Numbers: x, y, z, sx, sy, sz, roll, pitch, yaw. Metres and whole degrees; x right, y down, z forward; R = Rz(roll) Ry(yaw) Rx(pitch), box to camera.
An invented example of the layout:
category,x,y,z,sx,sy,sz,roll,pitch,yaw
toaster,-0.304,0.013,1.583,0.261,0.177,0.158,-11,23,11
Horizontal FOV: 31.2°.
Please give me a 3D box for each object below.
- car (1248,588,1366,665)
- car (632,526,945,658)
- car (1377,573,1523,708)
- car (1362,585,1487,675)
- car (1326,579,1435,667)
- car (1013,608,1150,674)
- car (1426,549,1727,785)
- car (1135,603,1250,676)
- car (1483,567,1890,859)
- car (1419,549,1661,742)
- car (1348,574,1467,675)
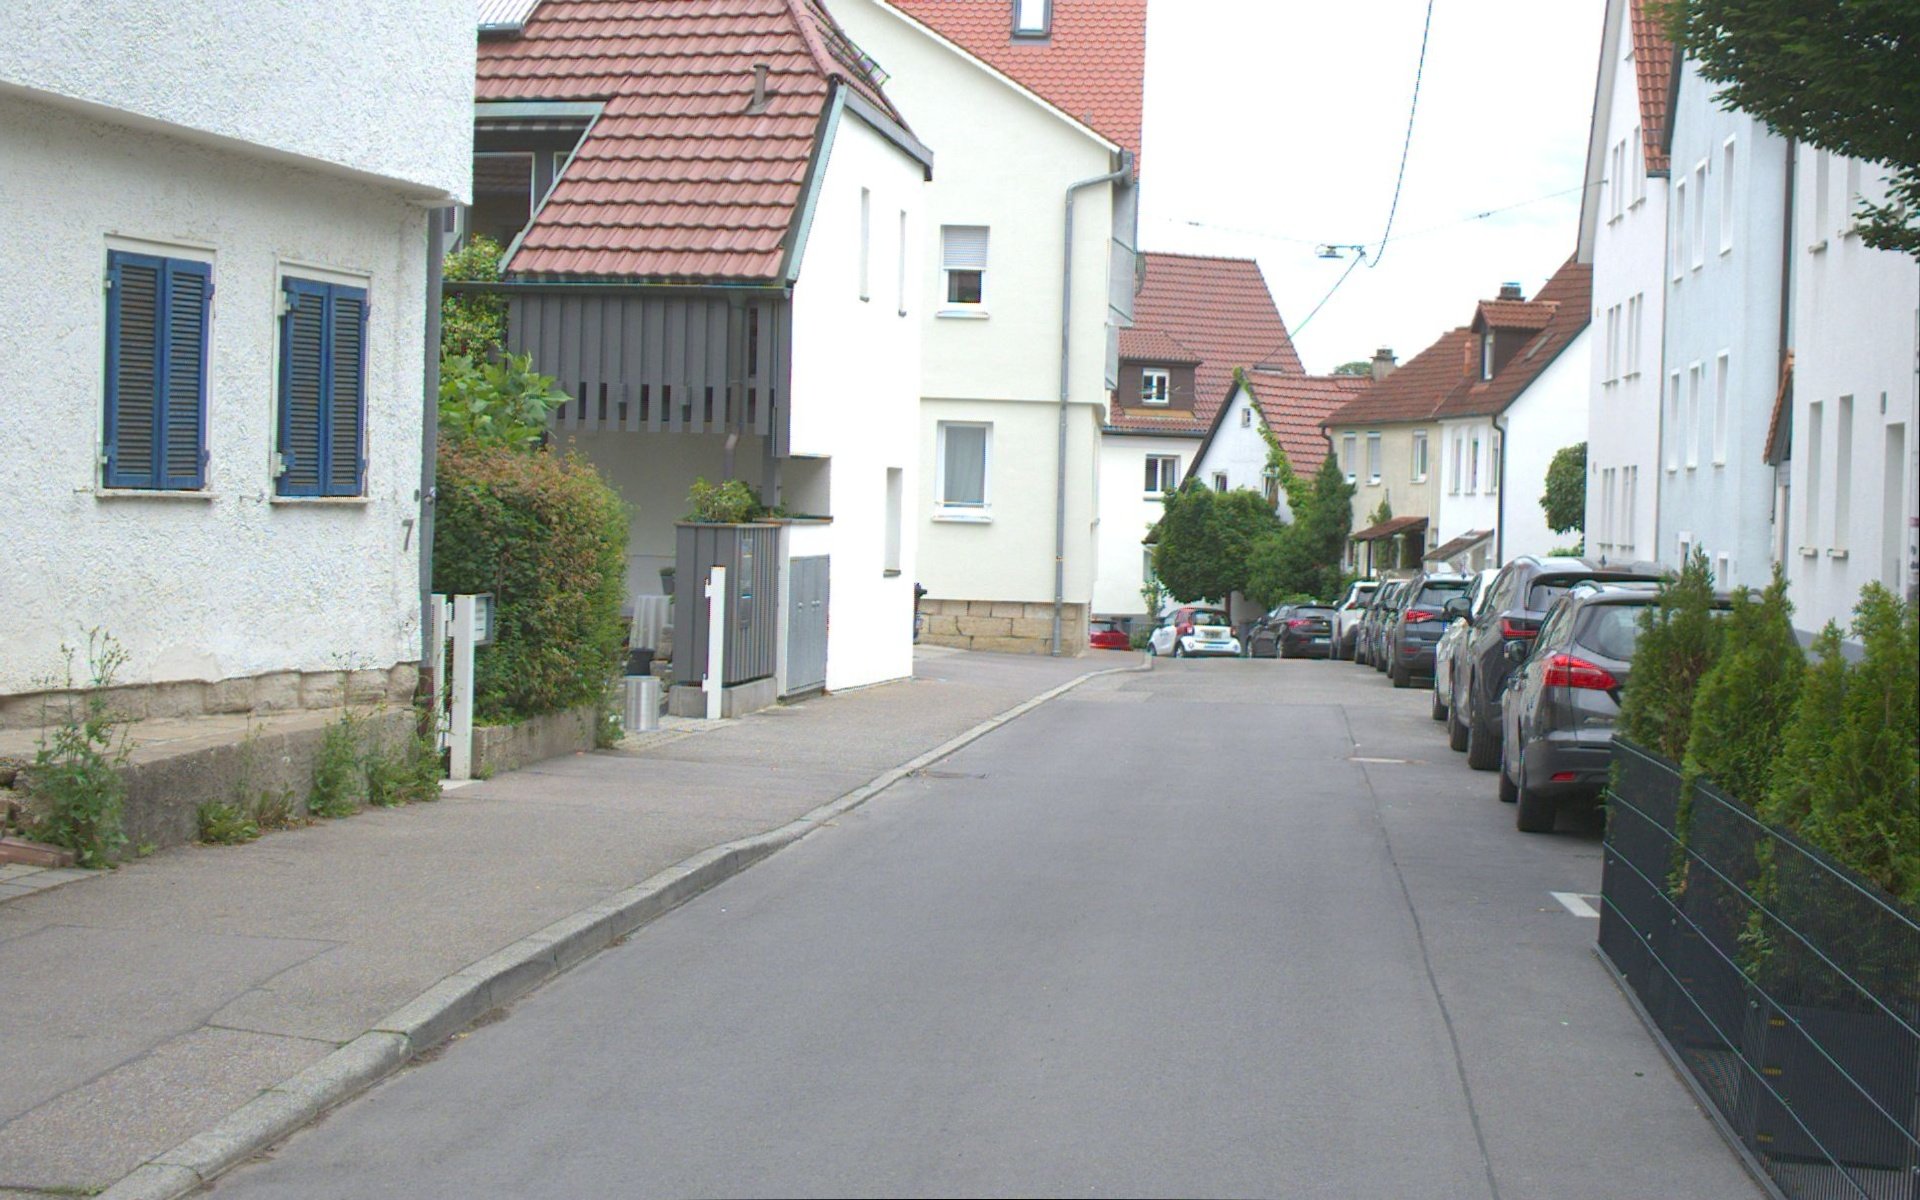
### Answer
category,x,y,z,sx,sy,sz,roll,pitch,yaw
car,8.274,0.659,82.341,1.993,1.707,4.000,1,-2,-6
car,-2.277,-0.093,46.264,3.733,1.407,2.119,5,0,10
car,6.542,0.494,46.266,1.754,1.622,4.533,4,1,7
car,7.560,0.508,56.280,1.797,1.347,4.074,2,-1,5
car,8.707,0.489,71.488,1.873,1.707,4.147,2,-1,3
car,3.420,1.172,97.270,1.993,1.678,4.000,-4,0,-29
car,4.783,0.469,27.289,1.863,1.627,4.900,2,1,5
car,6.161,1.031,91.549,1.962,1.707,4.001,2,1,-12
car,4.355,0.597,21.320,1.948,1.502,4.819,3,1,6
car,5.502,0.374,33.129,1.994,1.610,4.877,3,1,7
car,7.968,0.445,61.484,1.736,1.605,3.999,5,0,4
